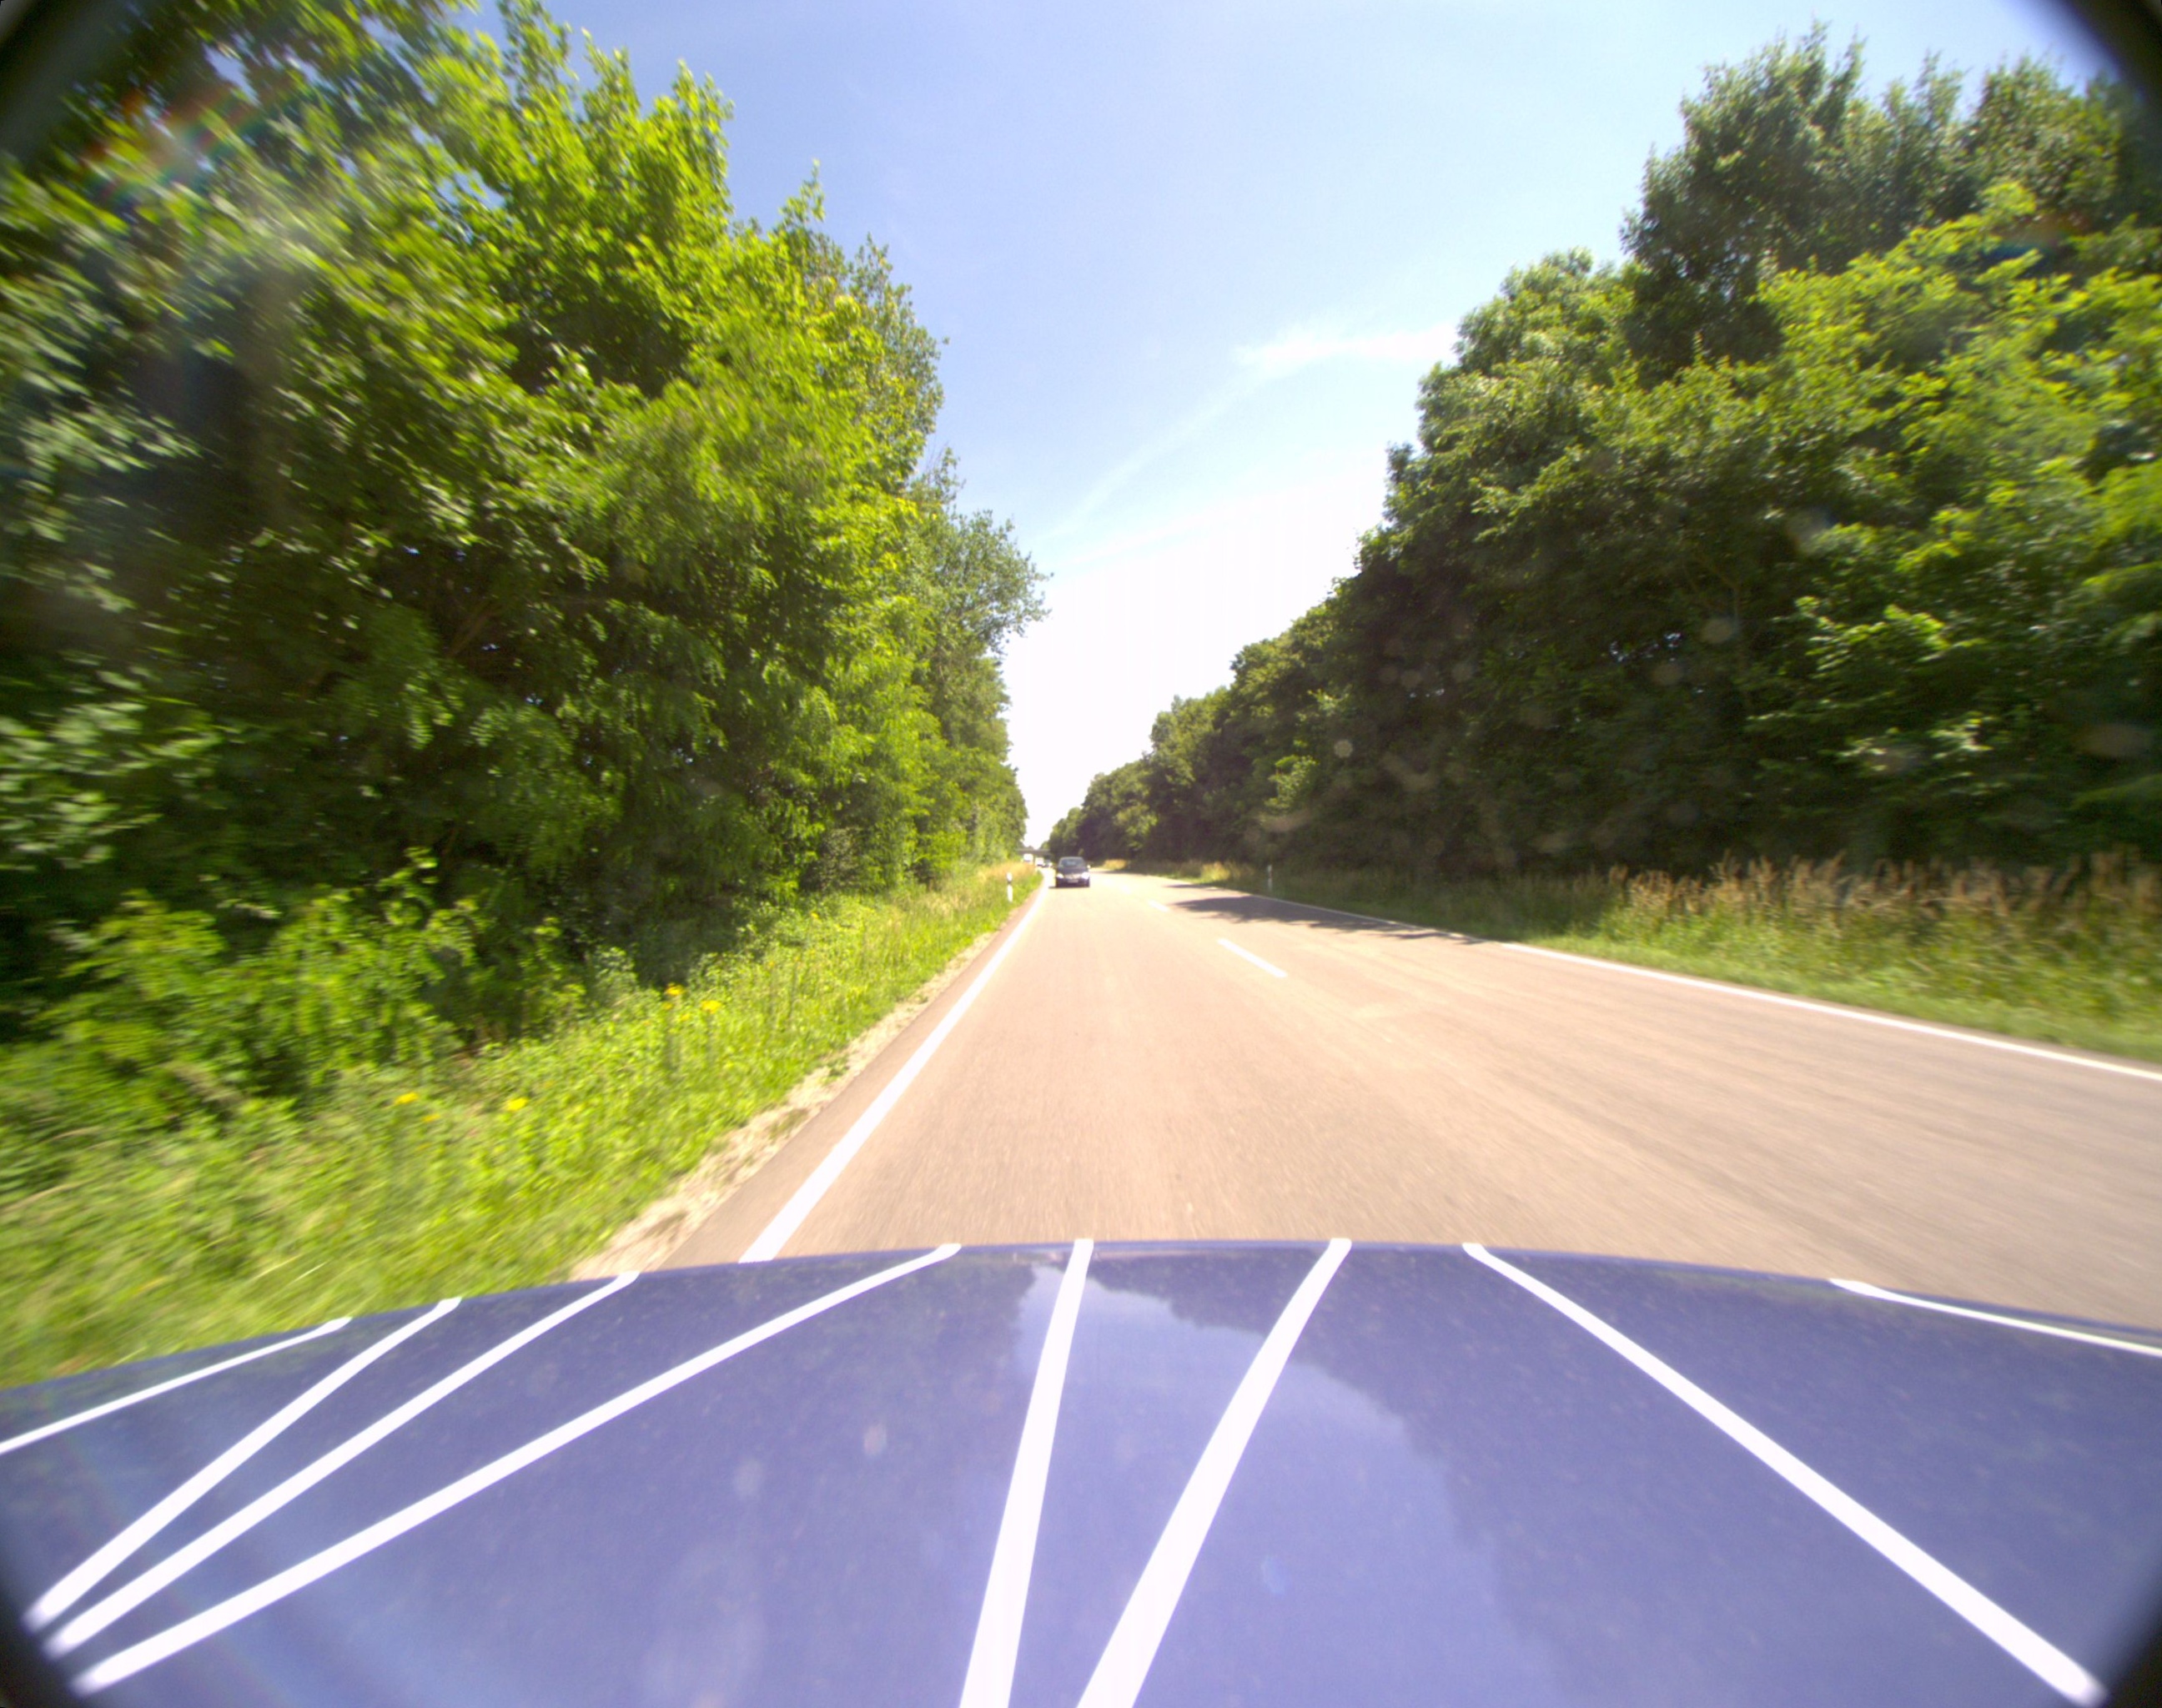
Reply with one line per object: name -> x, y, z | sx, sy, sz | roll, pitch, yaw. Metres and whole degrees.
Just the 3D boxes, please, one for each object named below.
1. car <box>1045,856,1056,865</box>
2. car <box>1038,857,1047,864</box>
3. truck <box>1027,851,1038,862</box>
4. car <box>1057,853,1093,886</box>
car -> -5.395, 1.138, 133.215 | 1.710, 1.523, 4.777 | -2, 0, -4
car -> -8.609, 1.393, 168.890 | 1.710, 1.523, 4.776 | -2, 0, -5
truck -> -15.144, 0.810, 236.812 | 2.579, 3.111, 11.193 | -2, 0, -6
car -> -0.361, 0.852, 40.826 | 1.784, 1.675, 4.779 | 1, -1, -2
